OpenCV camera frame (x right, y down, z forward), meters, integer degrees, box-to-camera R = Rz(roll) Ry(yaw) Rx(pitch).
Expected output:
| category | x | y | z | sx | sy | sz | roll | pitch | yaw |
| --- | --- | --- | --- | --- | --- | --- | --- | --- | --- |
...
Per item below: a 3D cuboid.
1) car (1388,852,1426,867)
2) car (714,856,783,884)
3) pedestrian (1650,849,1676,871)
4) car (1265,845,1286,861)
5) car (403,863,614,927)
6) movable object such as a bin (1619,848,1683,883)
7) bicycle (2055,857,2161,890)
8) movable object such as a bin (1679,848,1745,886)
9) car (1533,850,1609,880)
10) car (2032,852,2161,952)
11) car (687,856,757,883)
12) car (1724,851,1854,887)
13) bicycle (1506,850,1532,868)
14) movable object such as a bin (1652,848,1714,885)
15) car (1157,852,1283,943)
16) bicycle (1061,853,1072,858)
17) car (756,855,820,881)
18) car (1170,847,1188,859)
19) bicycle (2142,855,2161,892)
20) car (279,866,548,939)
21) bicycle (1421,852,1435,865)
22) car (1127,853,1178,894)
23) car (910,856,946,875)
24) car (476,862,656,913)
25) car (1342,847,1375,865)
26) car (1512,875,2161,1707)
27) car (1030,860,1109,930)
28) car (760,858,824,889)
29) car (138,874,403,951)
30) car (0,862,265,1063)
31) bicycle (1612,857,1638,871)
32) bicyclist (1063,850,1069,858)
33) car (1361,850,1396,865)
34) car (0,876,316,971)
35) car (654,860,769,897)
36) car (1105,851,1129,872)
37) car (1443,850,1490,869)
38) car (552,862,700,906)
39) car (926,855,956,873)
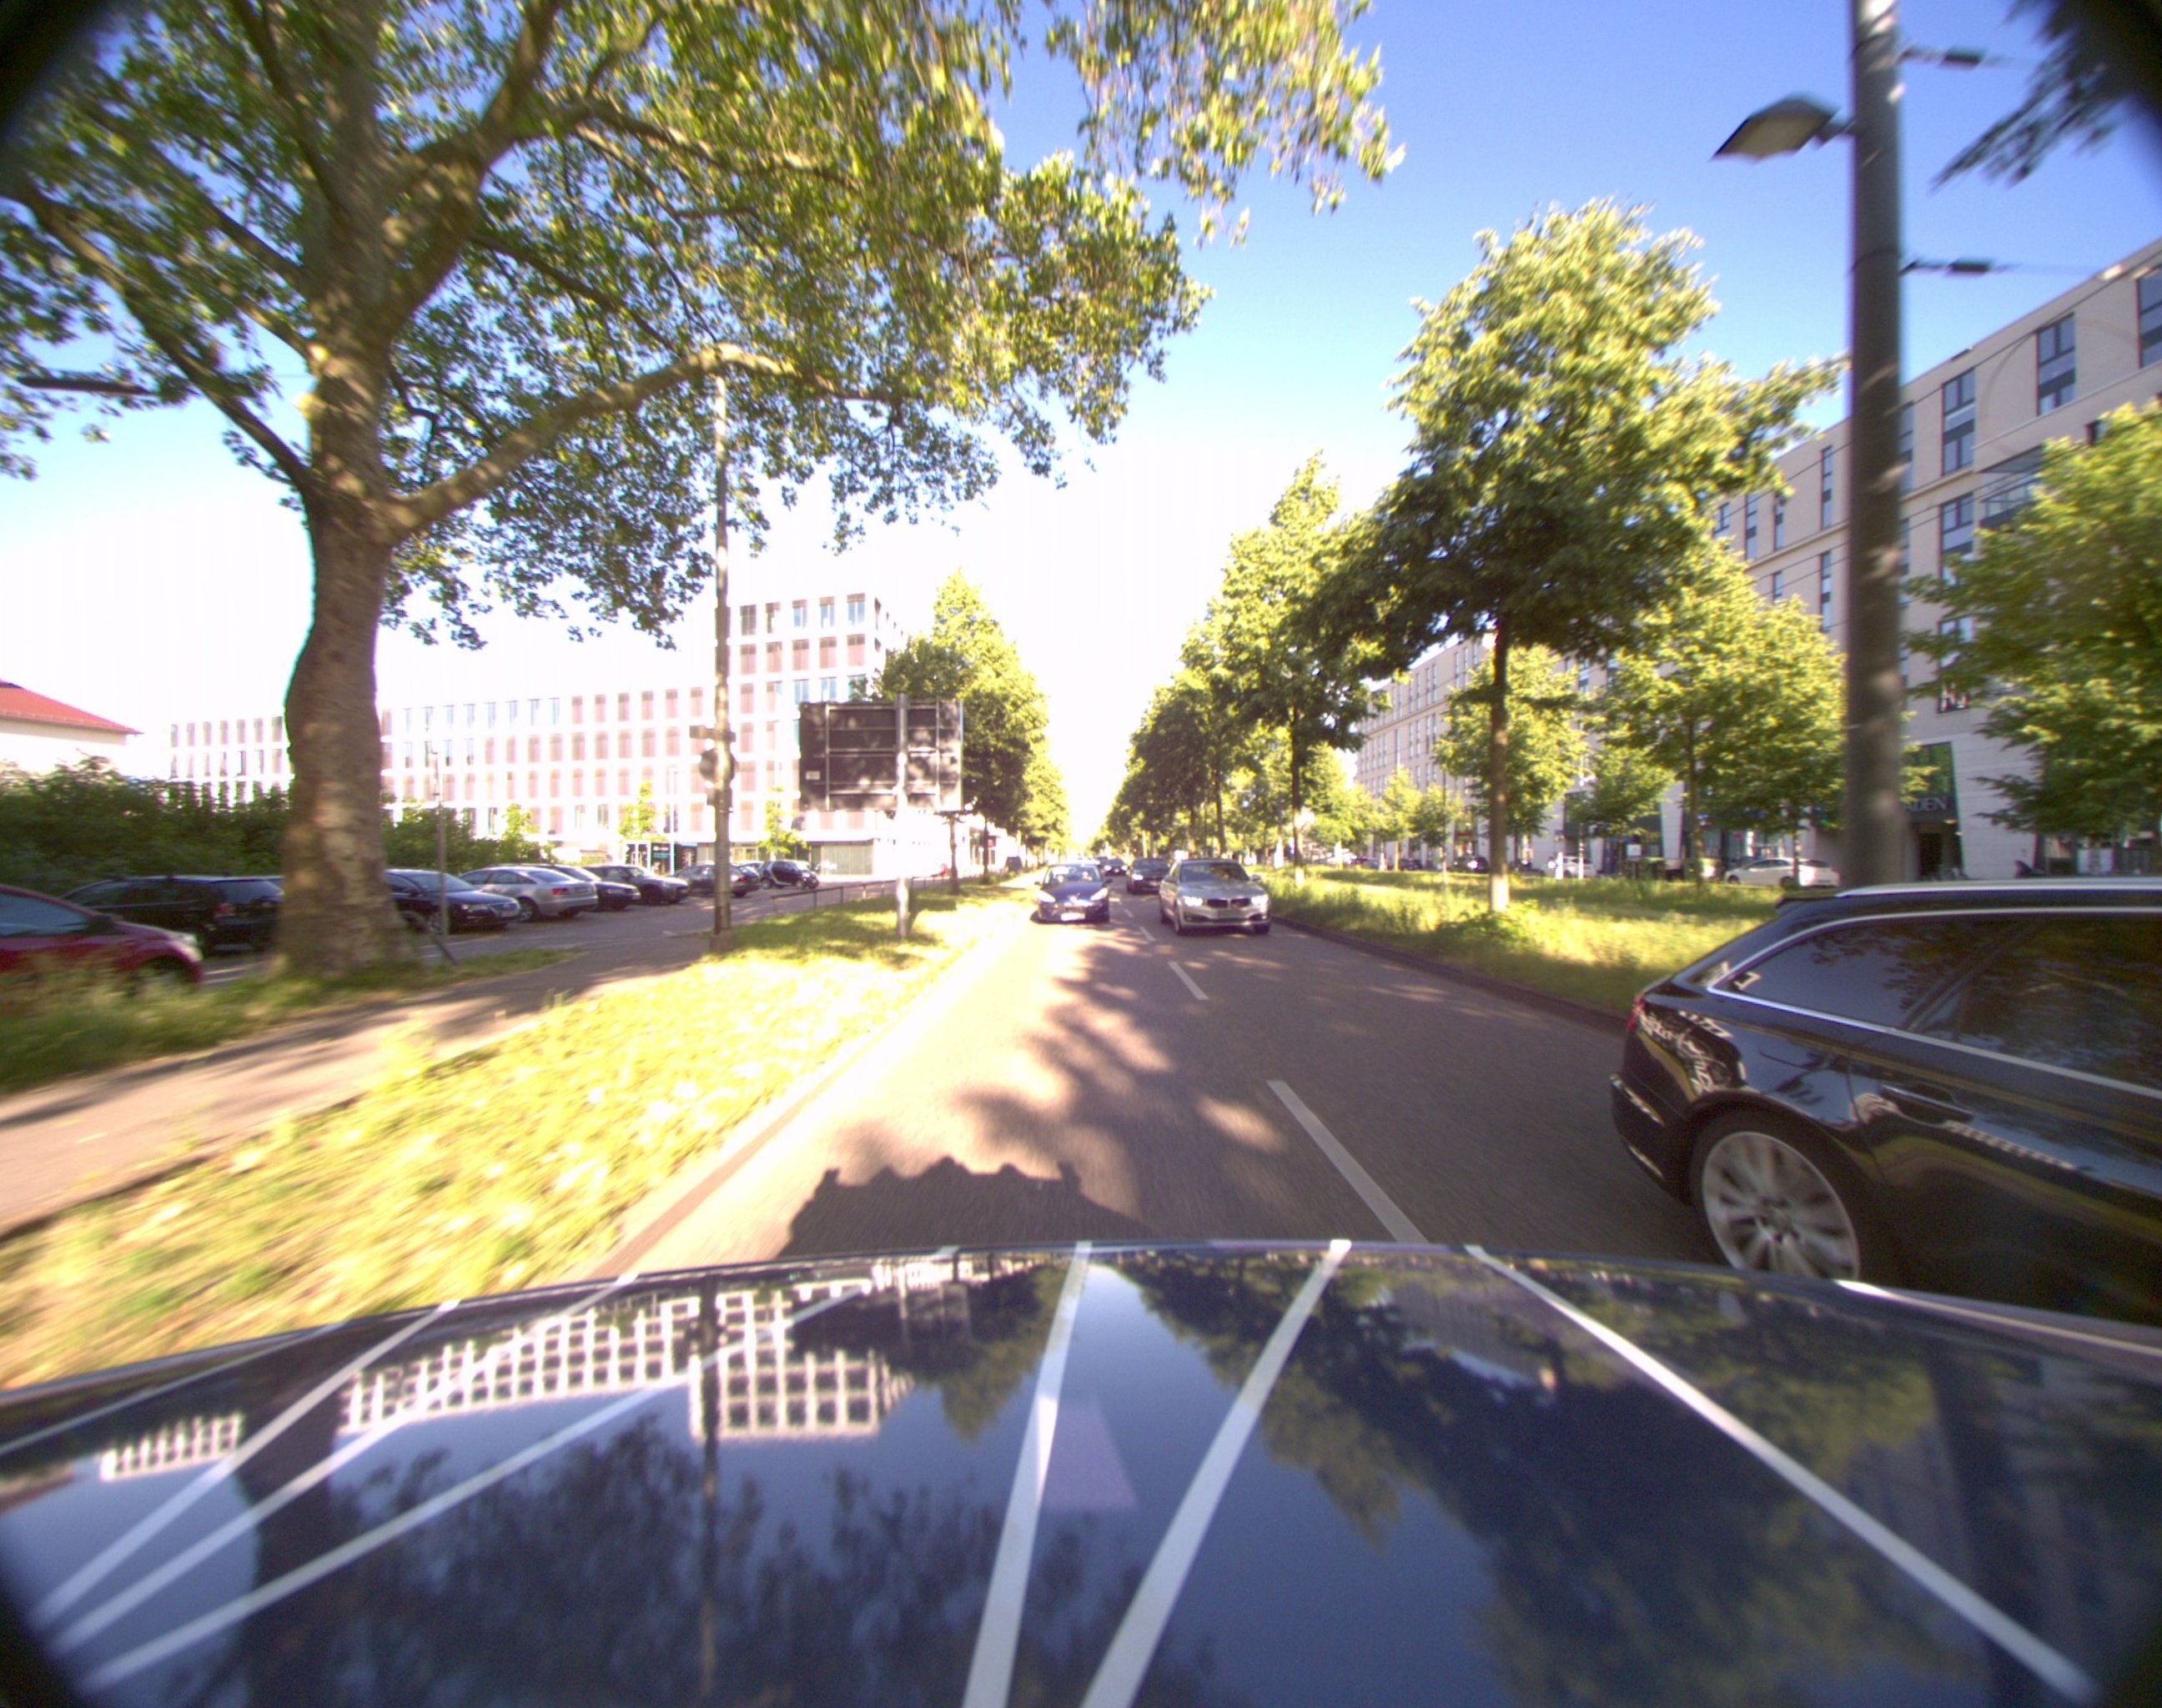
| category | x | y | z | sx | sy | sz | roll | pitch | yaw |
| --- | --- | --- | --- | --- | --- | --- | --- | --- | --- |
| car | 31.753 | 0.559 | 74.104 | 1.728 | 1.405 | 4.336 | 0 | 0 | -3 |
| car | -20.899 | 0.969 | 47.948 | 1.748 | 1.527 | 3.886 | -2 | 1 | 19 |
| pedestrian | 40.633 | 0.392 | 53.033 | 0.949 | 1.459 | 1.026 | -2 | 1 | -8 |
| car | 26.407 | -0.195 | 103.293 | 1.998 | 2.002 | 4.000 | -2 | 1 | 3 |
| car | -15.877 | 1.089 | 21.229 | 4.390 | 1.403 | 2.000 | 3 | 1 | 3 |
| movable object such as a bin | 31.136 | 0.597 | 41.553 | 1.975 | 1.784 | 2.010 | -2 | 1 | -2 |
| bicycle | 38.634 | 0.703 | 28.559 | 0.869 | 1.130 | 2.375 | -2 | 1 | -9 |
| movable object such as a bin | 31.267 | 0.639 | 37.694 | 1.975 | 1.784 | 1.555 | -2 | 1 | -1 |
| car | 31.848 | 0.679 | 49.561 | 1.999 | 1.719 | 4.337 | -2 | 1 | -2 |
| car | 19.904 | 0.859 | 12.549 | 1.998 | 1.676 | 5.110 | -2 | 1 | 0 |
| car | -23.041 | 0.956 | 48.880 | 1.719 | 1.531 | 3.956 | -2 | 1 | 19 |
| car | 31.512 | 0.624 | 34.013 | 1.999 | 1.433 | 4.018 | -2 | 1 | -2 |
| bicycle | 38.637 | 0.447 | 67.034 | 0.619 | 1.537 | 3.034 | -2 | 1 | 2 |
| movable object such as a bin | 31.247 | 0.618 | 39.496 | 1.975 | 1.784 | 1.555 | -2 | 1 | -1 |
| car | 2.766 | 0.792 | 16.058 | 1.886 | 1.569 | 4.277 | -2 | 1 | 1 |
| bicycle | -2.501 | 0.312 | 133.996 | 1.927 | 0.899 | 0.647 | 0 | 1 | 3 |
| car | -18.230 | 0.884 | 47.423 | 1.594 | 1.536 | 3.826 | 0 | -1 | 20 |
| car | 21.373 | -0.268 | 166.241 | 2.513 | 2.368 | 6.024 | -2 | 1 | -7 |
| bicycle | 38.626 | 0.698 | 26.009 | 0.949 | 1.273 | 2.772 | -2 | 1 | 8 |
| car | -15.974 | 1.118 | 18.371 | 4.731 | 1.398 | 2.000 | 3 | 1 | 1 |
| bicycle | 38.883 | 0.477 | 85.144 | 0.663 | 1.317 | 2.336 | -2 | 1 | 7 |
| car | 3.002 | 0.782 | 32.598 | 1.950 | 1.514 | 4.000 | -2 | 1 | 3 |
| car | -13.399 | 0.981 | 66.656 | 1.998 | 1.477 | 4.402 | 2 | 1 | 3 |
| car | -16.264 | 1.035 | 24.196 | 4.340 | 1.469 | 1.906 | 2 | -1 | -3 |
| car | 31.810 | 0.164 | 87.236 | 1.999 | 2.002 | 4.553 | 0 | 0 | -2 |
| car | 2.925 | 0.809 | 0.800 | 1.958 | 1.471 | 5.084 | -1 | -1 | -1 |
| car | -0.208 | 0.951 | 19.442 | 1.766 | 1.462 | 4.000 | -2 | 1 | 2 |
| car | -15.231 | 0.989 | 40.077 | 2.771 | 1.541 | 1.463 | 1 | 1 | 10 |
| car | -16.923 | 1.179 | 15.984 | 3.996 | 1.384 | 1.620 | 1 | 1 | 3 |
| car | -10.037 | 0.959 | 6.496 | 2.000 | 1.630 | 3.997 | -2 | 1 | -7 |
| bicycle | 38.869 | 0.710 | 54.315 | 0.619 | 0.983 | 1.849 | -2 | 1 | 6 |
| bicyclist | -2.653 | -0.044 | 134.010 | 1.086 | 1.315 | 0.639 | 0 | 1 | 3 |
| car | 31.841 | 0.312 | 81.429 | 1.999 | 1.563 | 3.999 | -1 | 0 | -2 |
| car | -16.797 | 1.200 | 13.744 | 3.998 | 1.496 | 1.765 | -1 | 1 | -2 |
| car | -15.733 | 1.027 | 32.487 | 4.089 | 1.459 | 1.715 | 1 | 1 | 1 |
| car | 2.936 | 0.561 | 62.259 | 1.782 | 1.571 | 3.783 | -2 | 1 | 1 |
| car | 31.219 | 0.419 | 61.683 | 1.562 | 1.471 | 4.271 | -1 | 0 | 0 |
| car | -16.176 | 1.041 | 27.173 | 4.202 | 1.490 | 1.782 | 0 | 1 | -2 |
| car | -13.159 | 0.923 | 71.622 | 1.869 | 1.477 | 4.272 | 2 | 1 | 1 |
